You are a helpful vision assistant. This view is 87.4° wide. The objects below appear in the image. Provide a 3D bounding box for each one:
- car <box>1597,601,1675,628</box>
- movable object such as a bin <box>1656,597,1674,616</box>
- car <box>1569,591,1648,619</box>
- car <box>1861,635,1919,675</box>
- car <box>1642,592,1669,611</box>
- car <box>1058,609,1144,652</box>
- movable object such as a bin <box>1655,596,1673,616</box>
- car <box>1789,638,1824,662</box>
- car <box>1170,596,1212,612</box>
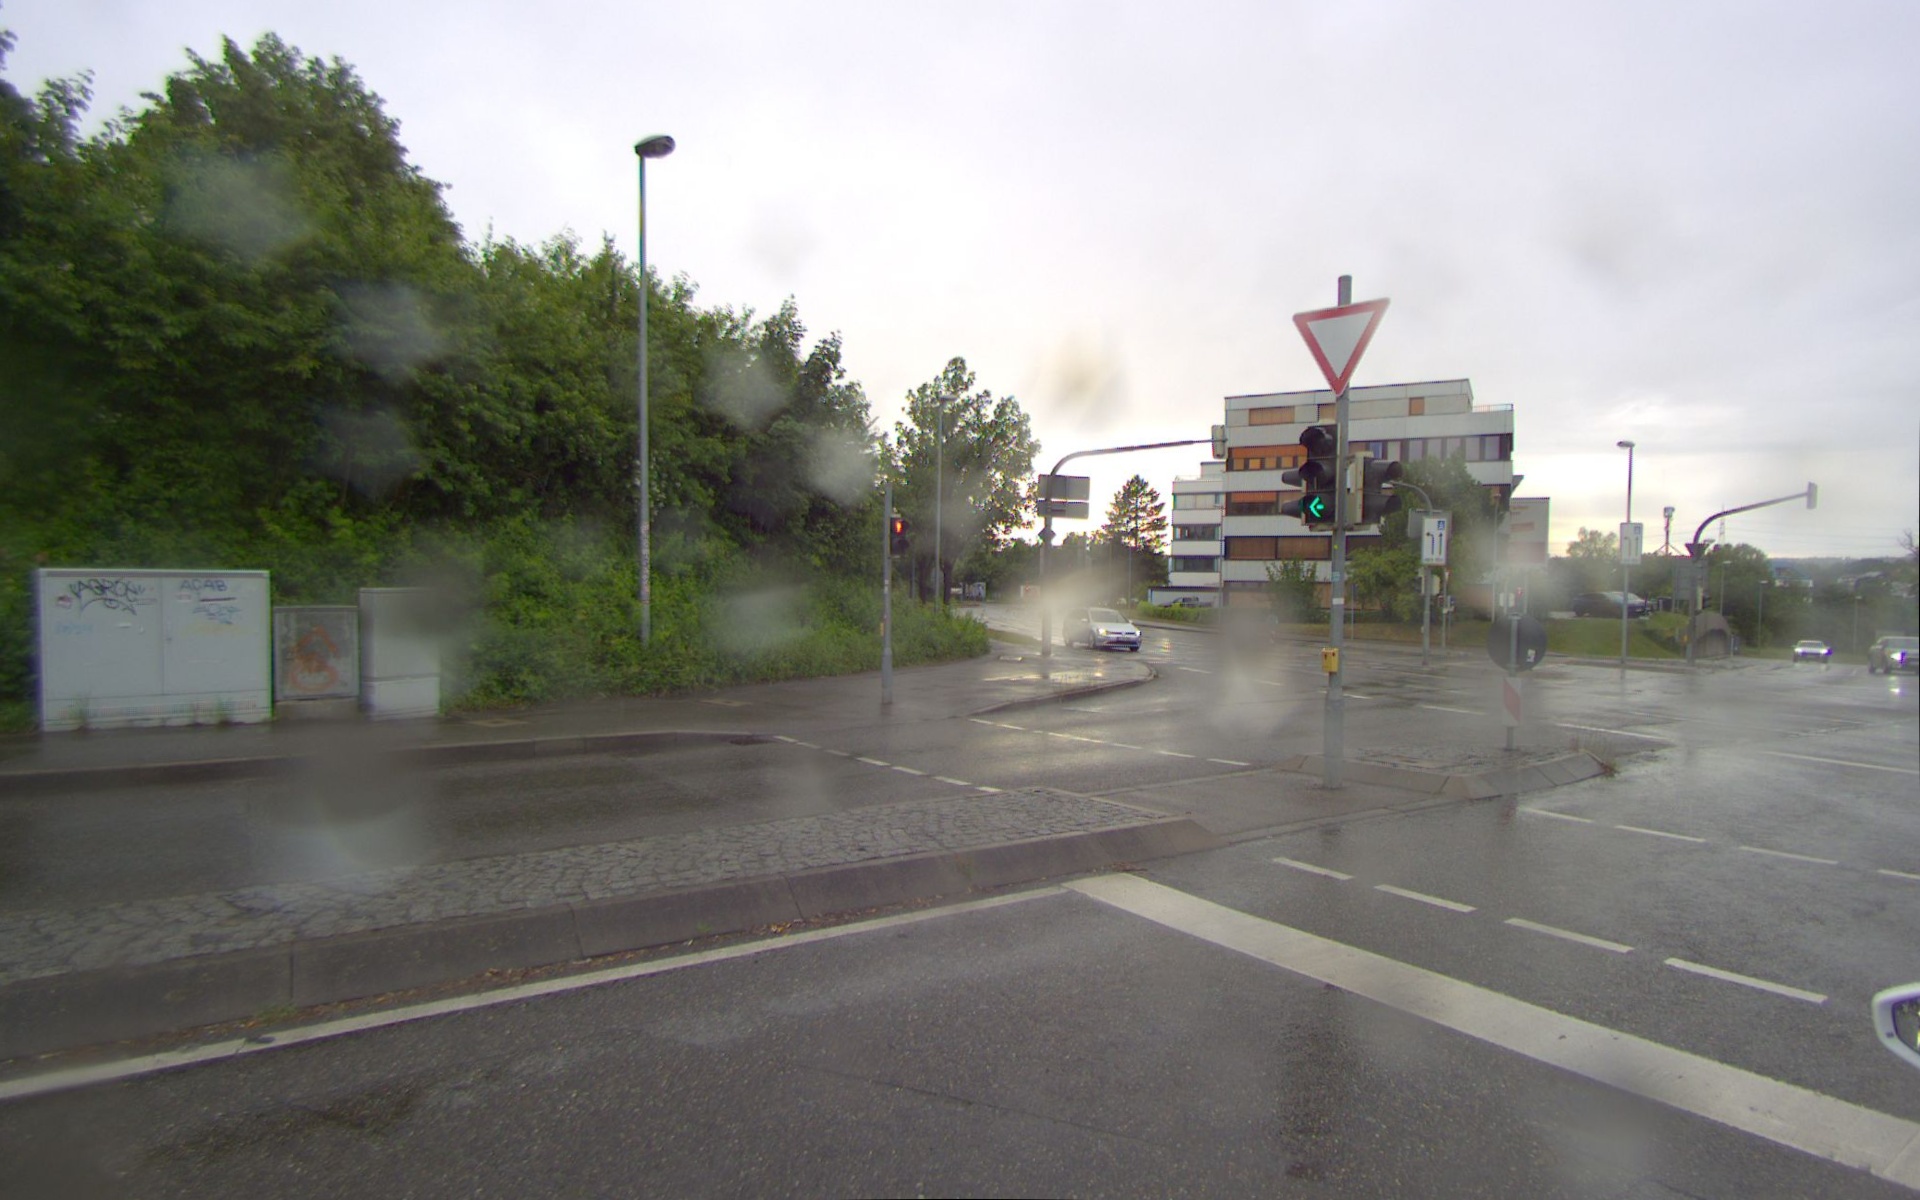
[{"bbox_3d":[45.008,0.946,67.005,1.872,1.607,3.985,4,0,-17],"label":"car"},{"bbox_3d":[56.547,0.525,80.623,1.069,1.456,1.443,3,0,34],"label":"movable object such as a bin"},{"bbox_3d":[42.438,0.300,65.810,1.874,1.607,3.981,4,0,-21],"label":"car"},{"bbox_3d":[38.057,2.202,40.719,1.638,1.514,3.989,2,-1,33],"label":"car"},{"bbox_3d":[61.261,0.162,88.550,1.802,1.461,3.990,3,-1,33],"label":"car"},{"bbox_3d":[5.047,1.072,36.602,1.731,1.381,4.523,2,0,-11],"label":"car"},{"bbox_3d":[55.626,0.491,79.360,1.069,1.456,1.443,3,0,34],"label":"movable object such as a bin"},{"bbox_3d":[59.576,3.503,70.652,1.701,1.514,3.979,2,-1,42],"label":"car"},{"bbox_3d":[22.176,0.344,96.282,3.686,1.418,2.000,1,1,19],"label":"car"}]
